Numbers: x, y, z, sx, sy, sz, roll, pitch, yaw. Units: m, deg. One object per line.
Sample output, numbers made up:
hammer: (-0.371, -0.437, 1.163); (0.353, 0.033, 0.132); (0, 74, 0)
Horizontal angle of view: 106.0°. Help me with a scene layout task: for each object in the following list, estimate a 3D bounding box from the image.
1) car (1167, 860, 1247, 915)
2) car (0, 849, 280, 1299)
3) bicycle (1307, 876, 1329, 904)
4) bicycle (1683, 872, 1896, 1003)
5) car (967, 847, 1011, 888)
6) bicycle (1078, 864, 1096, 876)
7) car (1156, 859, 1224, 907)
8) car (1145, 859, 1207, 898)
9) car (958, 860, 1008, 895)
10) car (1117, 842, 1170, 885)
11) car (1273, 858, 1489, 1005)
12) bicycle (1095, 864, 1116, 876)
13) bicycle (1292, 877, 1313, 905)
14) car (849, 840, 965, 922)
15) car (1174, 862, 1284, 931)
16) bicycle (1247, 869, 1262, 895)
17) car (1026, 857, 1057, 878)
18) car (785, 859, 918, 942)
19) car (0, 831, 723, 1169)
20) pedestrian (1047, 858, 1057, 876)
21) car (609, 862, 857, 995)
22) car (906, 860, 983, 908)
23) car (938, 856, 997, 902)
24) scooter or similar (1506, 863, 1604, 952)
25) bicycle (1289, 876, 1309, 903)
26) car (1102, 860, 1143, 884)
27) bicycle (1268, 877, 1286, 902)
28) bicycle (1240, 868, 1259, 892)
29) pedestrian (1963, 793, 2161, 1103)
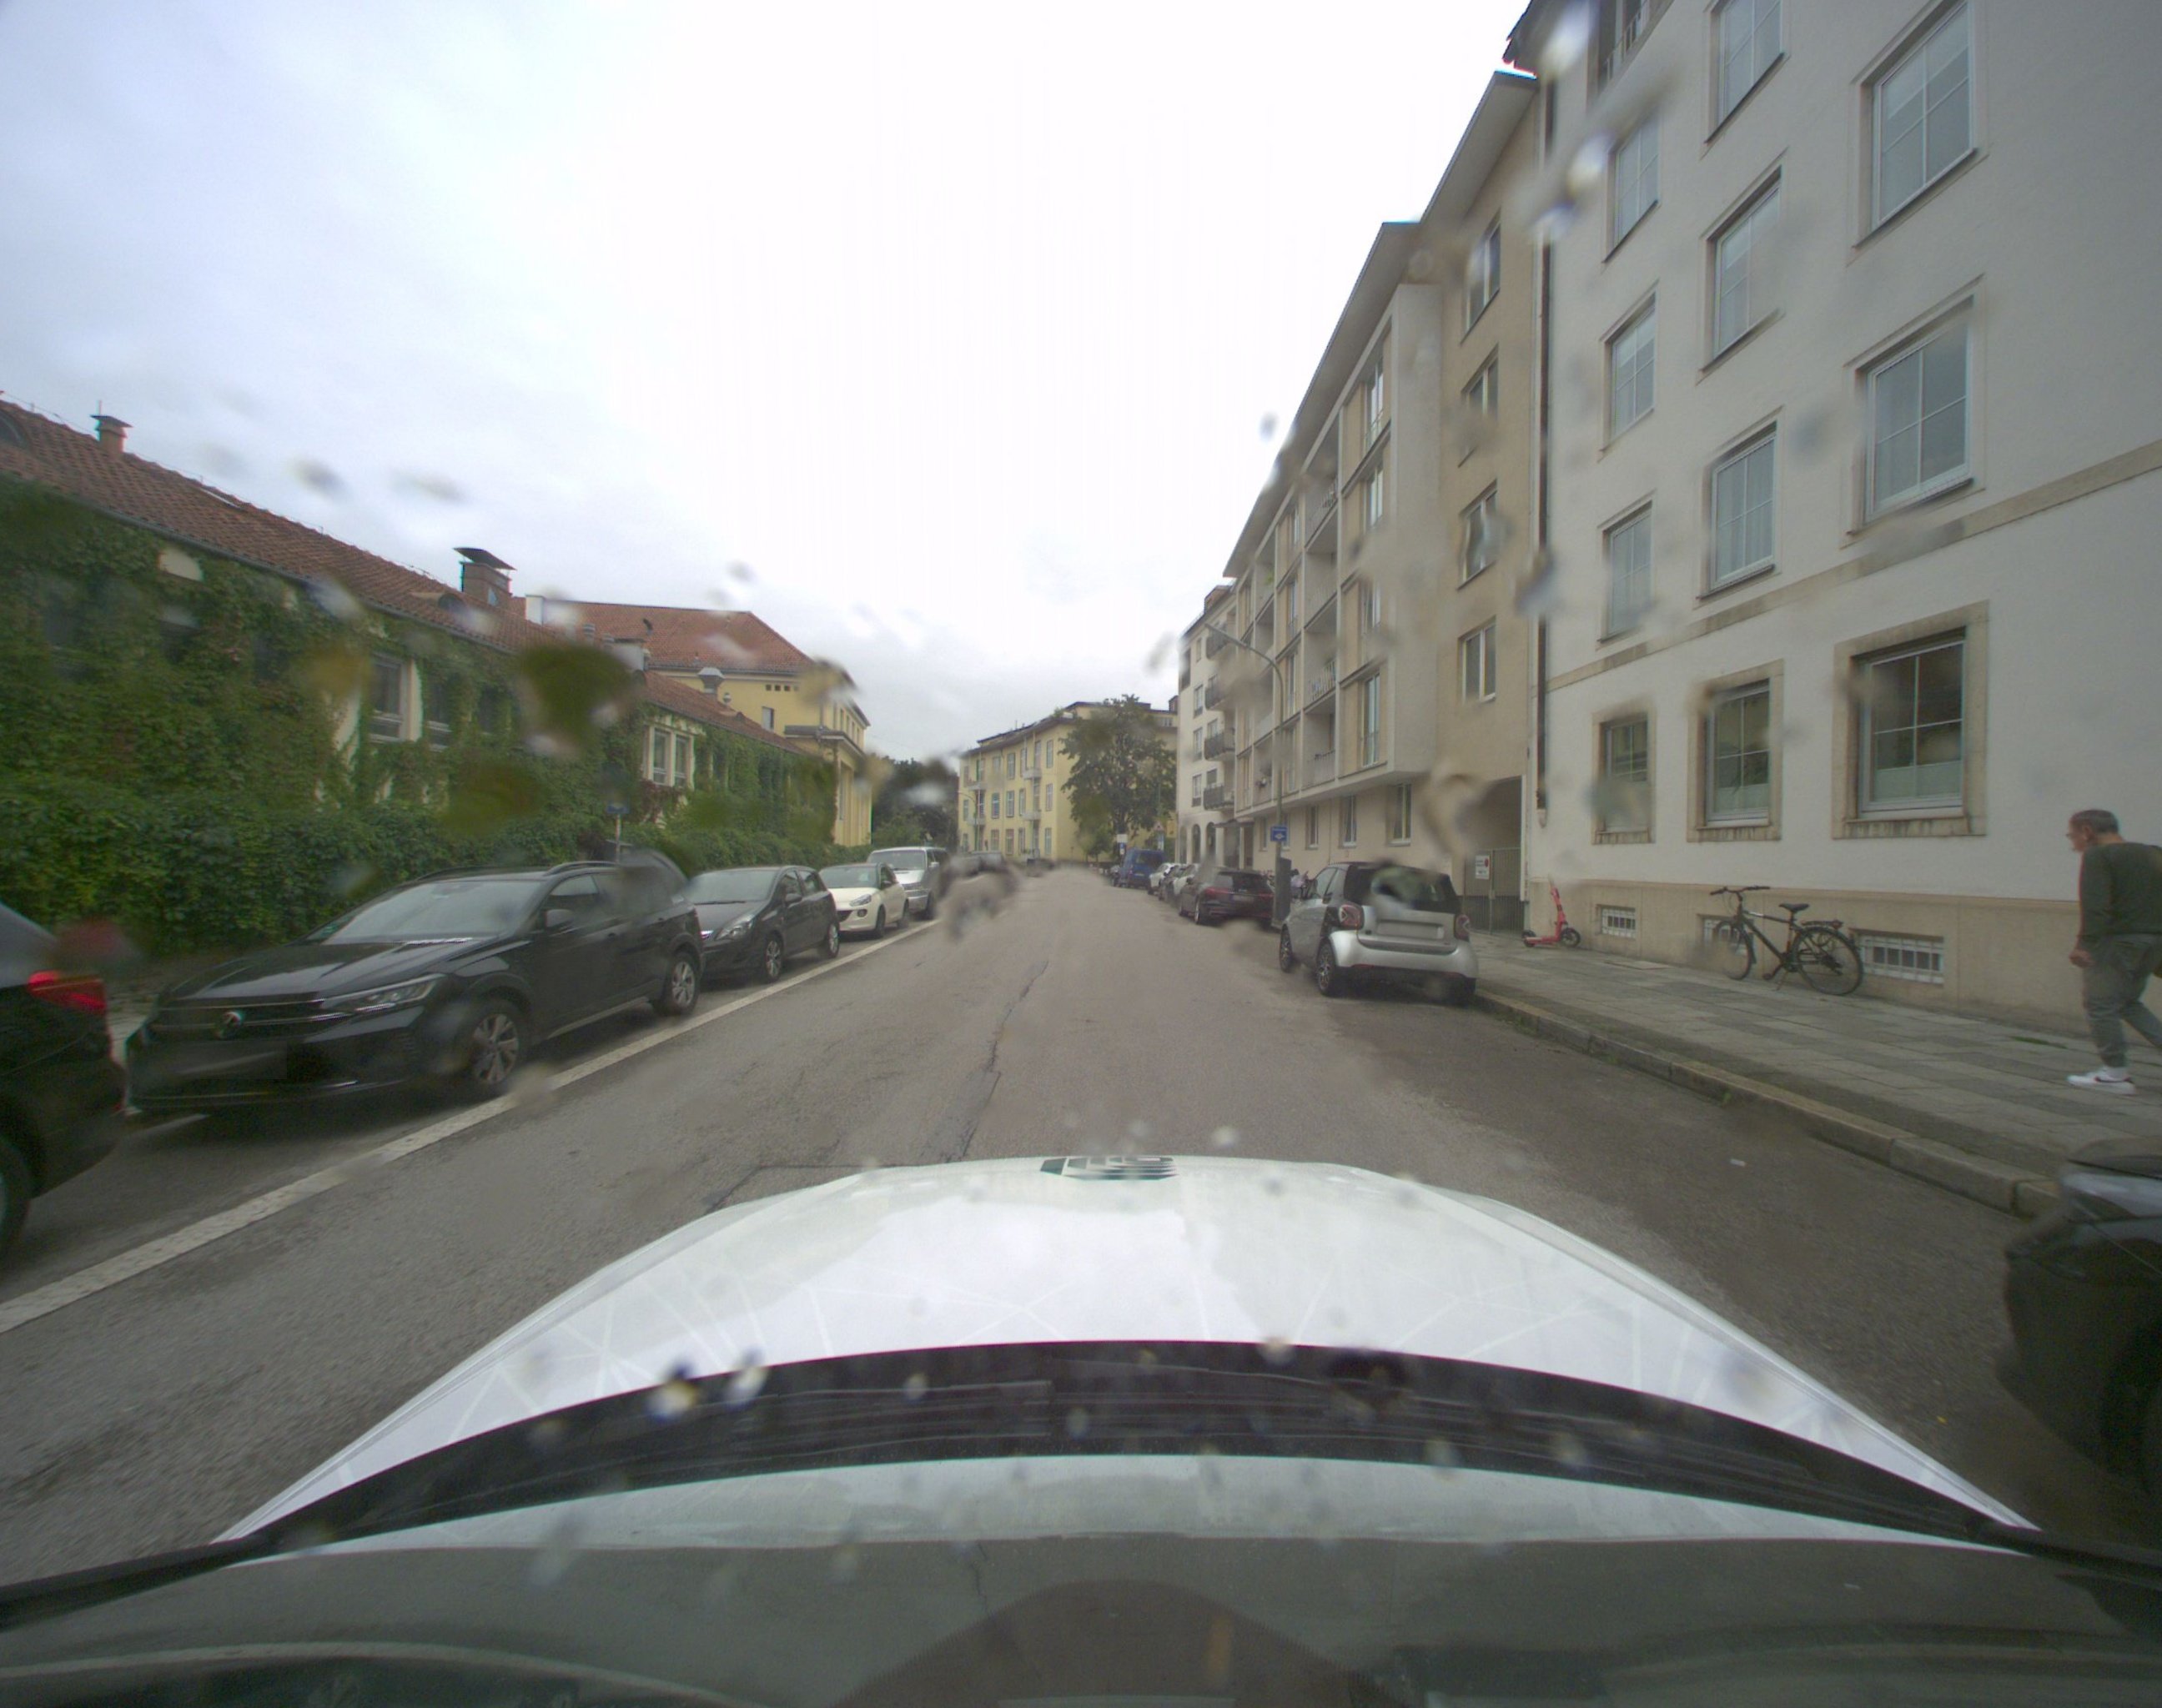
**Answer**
car: (3.920, 0.996, 25.996); (1.689, 1.489, 4.577); (3, 0, -1)
car: (-4.702, 0.802, 1.452); (1.784, 1.586, 4.816); (-2, 0, -1)
bicycle: (8.084, 1.229, 27.824); (0.376, 0.905, 1.392); (1, 0, 2)
bicycle: (7.679, 0.836, 8.988); (0.527, 1.218, 2.104); (-2, 0, 2)
car: (-4.794, 0.693, 42.956); (2.069, 1.964, 5.340); (-1, -1, -5)
bicycle: (0.623, 1.664, 85.548); (1.903, 1.201, 0.599); (1, -1, 37)
car: (4.058, 1.020, 31.029); (1.873, 1.522, 5.164); (4, 0, 1)
car: (4.168, 1.034, 36.358); (1.782, 1.533, 4.640); (4, 0, -5)
car: (-4.465, 1.026, 37.703); (1.689, 1.393, 4.499); (-4, 0, -1)
car: (3.617, 0.622, 48.056); (2.076, 2.234, 5.233); (5, -3, -5)
car: (3.583, 0.845, 10.259); (1.644, 1.495, 2.881); (3, 0, 1)
bicycle: (2.495, 1.641, 84.361); (2.052, 1.201, 0.597); (1, -1, 14)
bicycle: (7.660, 1.281, 28.196); (0.376, 0.905, 1.392); (1, 0, 2)
car: (-4.502, 0.673, 21.852); (1.880, 1.889, 4.775); (-2, -1, 2)
car: (3.666, 0.999, 21.054); (1.740, 1.388, 4.951); (5, 0, -1)
bicycle: (7.717, 1.250, 36.238); (0.376, 1.119, 1.392); (1, 0, 2)
car: (-4.109, 1.383, 84.602); (1.769, 1.874, 4.348); (5, -1, -21)
car: (-4.517, 0.850, 16.638); (1.586, 1.441, 4.017); (-2, 0, -1)
car: (-4.616, 0.737, 6.310); (1.719, 1.629, 4.464); (-2, 0, -1)
pedestrian: (-3.038, 1.374, 84.811); (0.877, 1.823, 0.793); (1, -1, -20)
car: (-4.538, 0.862, 11.383); (1.598, 1.430, 4.250); (-3, 0, 0)
car: (-4.535, 0.943, 27.638); (1.647, 1.414, 4.772); (-3, 0, 1)
car: (-4.445, 0.922, 32.398); (1.692, 1.643, 4.489); (-2, 0, 0)
scooter or similar: (7.745, 0.859, 13.385); (0.439, 1.359, 1.584); (1, -3, -10)
bicycle: (7.924, 1.276, 29.596); (0.376, 0.905, 1.392); (1, 0, 2)
car: (2.726, 1.189, 54.196); (1.678, 1.389, 4.288); (5, -1, -11)
bicycle: (7.369, 1.322, 30.692); (0.376, 0.905, 1.392); (0, 0, 2)
bicycle: (8.190, 1.270, 39.615); (0.454, 1.110, 1.852); (1, 0, -2)
pedestrian: (6.437, 0.552, 5.112); (0.720, 1.764, 0.905); (-1, -3, 1)
